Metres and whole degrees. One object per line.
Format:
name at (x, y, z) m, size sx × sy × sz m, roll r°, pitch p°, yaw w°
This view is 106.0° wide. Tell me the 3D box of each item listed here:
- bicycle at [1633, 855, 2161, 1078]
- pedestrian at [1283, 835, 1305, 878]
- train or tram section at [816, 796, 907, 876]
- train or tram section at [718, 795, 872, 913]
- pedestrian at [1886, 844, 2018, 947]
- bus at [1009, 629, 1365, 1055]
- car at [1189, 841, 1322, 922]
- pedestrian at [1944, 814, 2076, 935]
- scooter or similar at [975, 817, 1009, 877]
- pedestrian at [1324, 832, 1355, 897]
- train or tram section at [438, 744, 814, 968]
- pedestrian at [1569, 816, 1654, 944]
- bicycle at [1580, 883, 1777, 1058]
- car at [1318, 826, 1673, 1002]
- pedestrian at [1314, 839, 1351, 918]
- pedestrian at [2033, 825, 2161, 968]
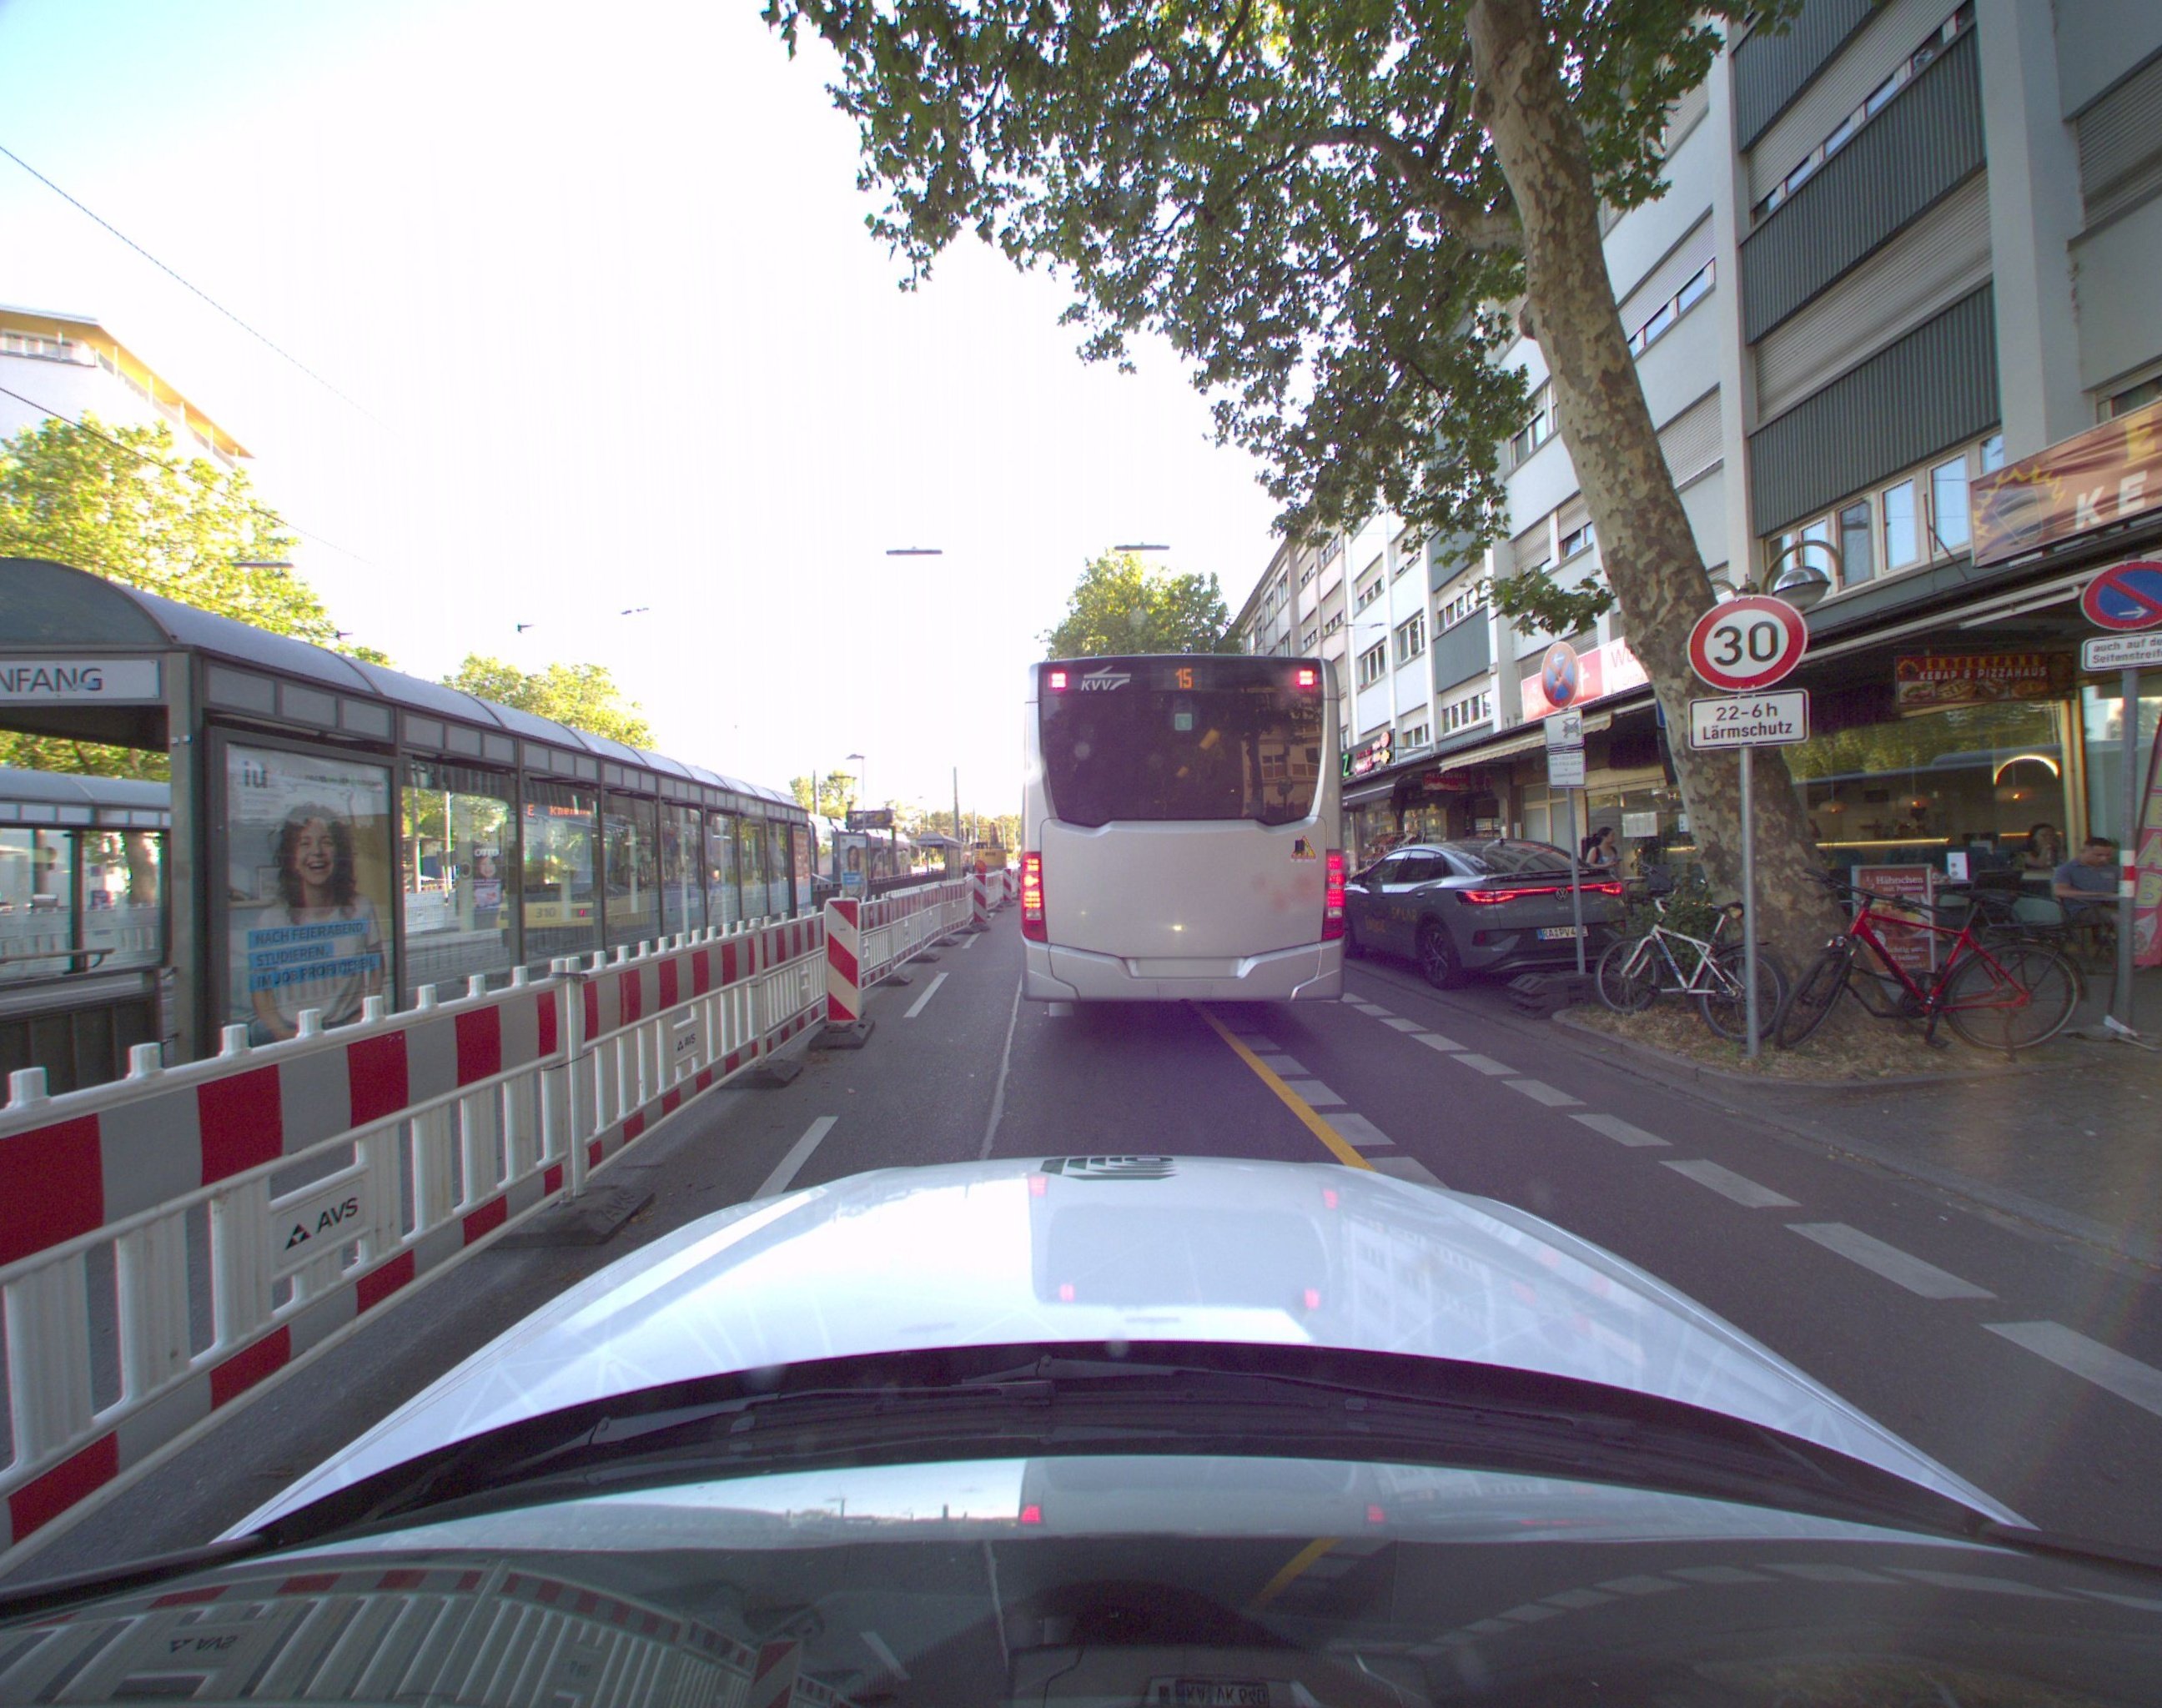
bicycle at (5.058, 0.721, 5.212) m, size 2.370 × 1.155 × 0.557 m, roll -7°, pitch -2°, yaw 14°
pedestrian at (9.348, 0.115, 35.681) m, size 0.684 × 1.836 × 0.785 m, roll -2°, pitch -1°, yaw -1°
train or tram section at (-10.963, -0.745, 41.905) m, size 2.683 × 3.533 × 11.558 m, roll 0°, pitch -1°, yaw -6°
train or tram section at (-10.120, 0.040, 30.394) m, size 2.682 × 3.558 × 11.559 m, roll 0°, pitch -1°, yaw -5°
pedestrian at (9.857, 0.451, 9.227) m, size 0.643 × 1.081 × 0.945 m, roll -2°, pitch -1°, yaw -39°
bus at (0.900, -0.067, 9.989) m, size 2.601 × 3.126 × 7.996 m, roll 0°, pitch 0°, yaw 2°
car at (4.028, 0.585, 19.619) m, size 1.989 × 1.582 × 4.364 m, roll -4°, pitch 0°, yaw -3°
pedestrian at (10.992, 0.228, 9.649) m, size 0.836 × 1.333 × 0.963 m, roll -2°, pitch -1°, yaw -39°
scooter or similar at (-7.051, -0.501, 65.114) m, size 2.465 × 4.471 × 5.961 m, roll -2°, pitch 0°, yaw -5°
pedestrian at (8.118, 0.327, 25.594) m, size 0.683 × 2.014 × 0.786 m, roll -2°, pitch -1°, yaw 1°
train or tram section at (-9.134, -0.006, 18.808) m, size 2.681 × 3.533 × 11.757 m, roll 0°, pitch 0°, yaw -3°
pedestrian at (7.144, 0.335, 11.008) m, size 0.580 × 1.646 × 0.796 m, roll -2°, pitch 0°, yaw 0°
bicycle at (4.574, 0.834, 6.353) m, size 0.550 × 1.155 × 1.446 m, roll -2°, pitch -1°, yaw 6°
car at (4.720, 0.581, 10.185) m, size 1.989 × 1.582 × 4.364 m, roll -4°, pitch 0°, yaw -3°
pedestrian at (5.497, 0.533, 17.785) m, size 0.658 × 1.666 × 0.603 m, roll -4°, pitch -1°, yaw 18°
pedestrian at (9.602, 0.378, 7.611) m, size 0.555 × 1.245 × 0.692 m, roll -4°, pitch 0°, yaw 8°
